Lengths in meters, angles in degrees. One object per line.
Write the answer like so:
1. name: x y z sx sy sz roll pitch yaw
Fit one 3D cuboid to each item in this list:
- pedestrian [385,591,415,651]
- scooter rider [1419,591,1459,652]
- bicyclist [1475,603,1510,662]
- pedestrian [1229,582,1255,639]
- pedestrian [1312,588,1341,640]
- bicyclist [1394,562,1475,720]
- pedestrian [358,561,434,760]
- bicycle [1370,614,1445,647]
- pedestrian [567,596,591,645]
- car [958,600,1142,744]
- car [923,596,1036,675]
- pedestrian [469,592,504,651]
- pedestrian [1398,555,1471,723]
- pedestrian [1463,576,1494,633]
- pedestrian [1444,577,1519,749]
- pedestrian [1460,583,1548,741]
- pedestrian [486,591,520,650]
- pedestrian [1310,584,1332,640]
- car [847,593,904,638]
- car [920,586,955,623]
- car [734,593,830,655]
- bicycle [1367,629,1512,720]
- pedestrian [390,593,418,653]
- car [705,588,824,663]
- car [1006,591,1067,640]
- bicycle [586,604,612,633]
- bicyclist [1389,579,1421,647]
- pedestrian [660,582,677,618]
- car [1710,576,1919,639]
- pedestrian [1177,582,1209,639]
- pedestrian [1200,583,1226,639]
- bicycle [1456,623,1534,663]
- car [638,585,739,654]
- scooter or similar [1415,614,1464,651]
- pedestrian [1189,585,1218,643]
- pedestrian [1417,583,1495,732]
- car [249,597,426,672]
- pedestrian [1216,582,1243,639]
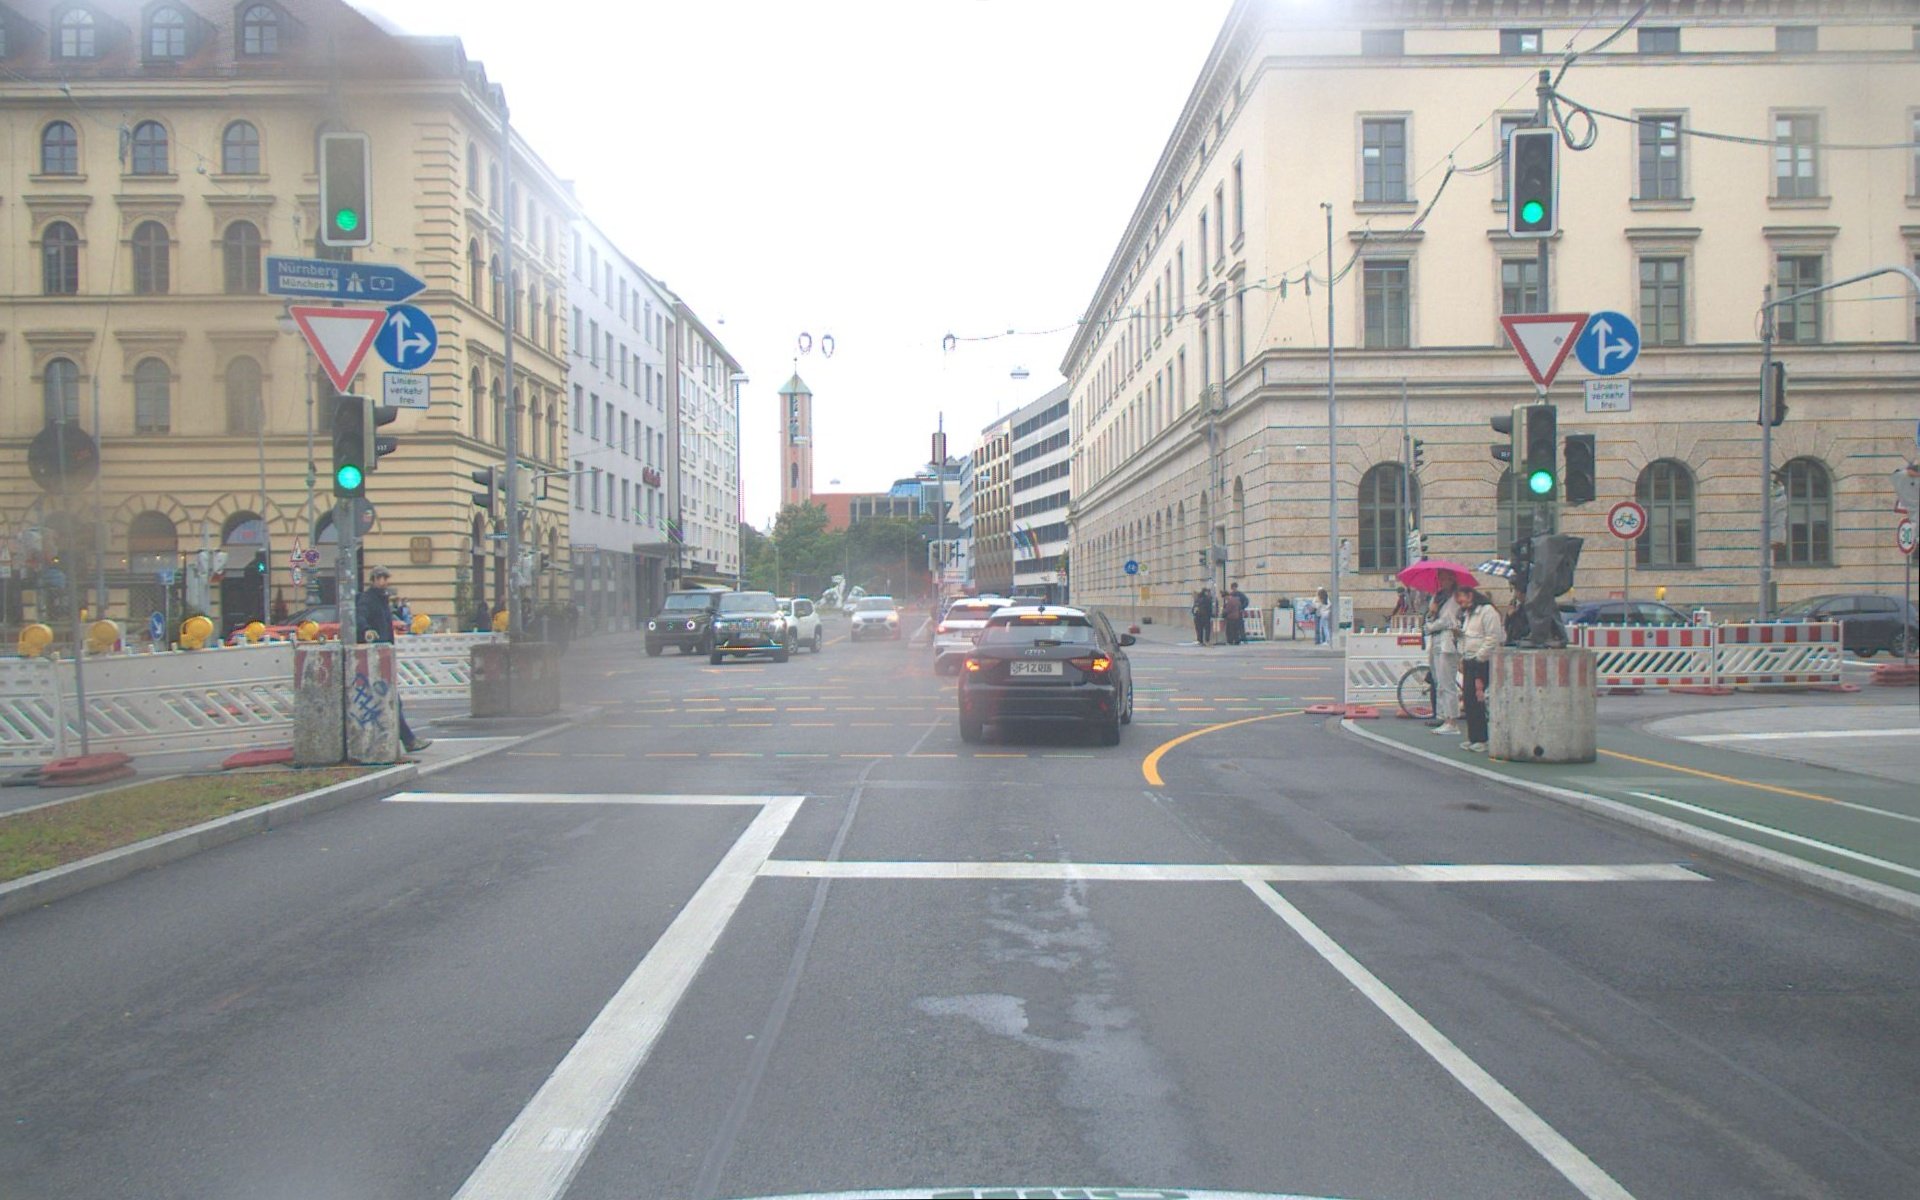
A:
1. pedestrian: -16.903 0.638 49.934 0.720 1.803 0.737 0 0 -11
2. scooter rider: 13.123 0.578 45.316 0.913 1.651 0.592 0 0 1
3. bicyclist: 14.883 0.904 46.245 0.728 1.643 0.795 0 0 2
4. pedestrian: 8.948 0.327 52.442 0.573 1.786 0.818 0 0 30
5. pedestrian: 11.078 0.418 50.047 0.800 1.584 0.667 0 0 7
6. bicyclist: 5.819 0.486 20.289 0.785 1.886 0.564 0 0 41
7. pedestrian: -5.206 0.535 15.302 0.503 1.773 1.041 -1 0 -10
8. bicycle: 12.542 0.853 46.388 1.931 0.895 0.662 0 0 2
9. pedestrian: -14.126 0.751 61.411 0.722 1.803 0.736 0 0 -1
10. car: 1.118 0.716 18.560 1.824 1.412 4.003 0 0 6
11. car: 0.463 0.658 33.073 1.774 1.449 4.455 1 0 7
12. pedestrian: -14.522 0.660 50.782 0.718 1.803 0.761 0 0 20
13. pedestrian: 5.532 0.445 19.323 0.688 1.918 0.641 0 0 4
14. pedestrian: 16.027 0.137 51.162 0.700 1.723 0.820 0 0 1
15. pedestrian: 5.099 0.599 16.199 0.520 1.648 0.674 0 0 1
16. pedestrian: 5.603 0.627 17.057 0.688 1.594 0.682 0 0 1
17. pedestrian: -14.220 0.626 51.519 0.718 1.803 0.739 0 0 20
18. pedestrian: 11.075 0.355 50.776 0.603 1.701 0.542 0 0 7
19. car: -3.090 0.549 61.257 1.953 1.550 4.232 -1 0 -1
20. car: -1.299 0.214 94.789 1.953 2.049 3.999 -1 0 -1
21. car: -5.216 0.672 49.062 1.755 1.707 4.237 -1 0 9
22. bicycle: 5.856 0.896 20.253 1.627 1.029 0.583 1 0 42
23. pedestrian: -17.034 0.696 50.663 0.720 1.803 0.737 0 0 -11
24. car: -4.867 0.601 41.782 1.952 1.765 4.589 -1 0 6
25. car: 2.633 0.506 57.496 1.827 1.629 3.850 -1 0 -1
26. bicycle: -15.861 0.805 72.716 0.585 1.264 2.199 0 0 2
27. bicyclist: 12.480 0.366 46.391 0.728 1.874 0.661 0 0 2
28. pedestrian: -14.881 -0.008 84.358 0.722 1.803 0.736 0 0 -1
29. car: 19.834 0.192 38.283 4.140 1.413 1.749 0 -1 -1
30. pedestrian: 7.456 0.327 52.909 0.809 1.786 0.579 0 0 -32
31. pedestrian: 8.202 0.356 53.631 0.800 1.786 0.586 0 0 13
32. bicycle: 14.948 1.195 46.247 1.917 1.058 0.795 0 0 2
33. car: -8.464 0.582 51.907 2.191 2.049 4.452 -1 0 3
34. scooter or similar: 13.128 0.889 45.314 1.186 0.982 0.588 0 0 0
35. pedestrian: 7.564 0.417 51.316 0.800 1.786 0.680 0 0 15
36. pedestrian: 5.428 0.617 18.117 0.688 1.594 0.541 0 0 1
37. car: -15.503 0.827 41.226 3.943 1.750 1.806 -1 0 -29
38. pedestrian: 8.417 0.326 51.710 0.573 1.786 0.818 0 0 30
